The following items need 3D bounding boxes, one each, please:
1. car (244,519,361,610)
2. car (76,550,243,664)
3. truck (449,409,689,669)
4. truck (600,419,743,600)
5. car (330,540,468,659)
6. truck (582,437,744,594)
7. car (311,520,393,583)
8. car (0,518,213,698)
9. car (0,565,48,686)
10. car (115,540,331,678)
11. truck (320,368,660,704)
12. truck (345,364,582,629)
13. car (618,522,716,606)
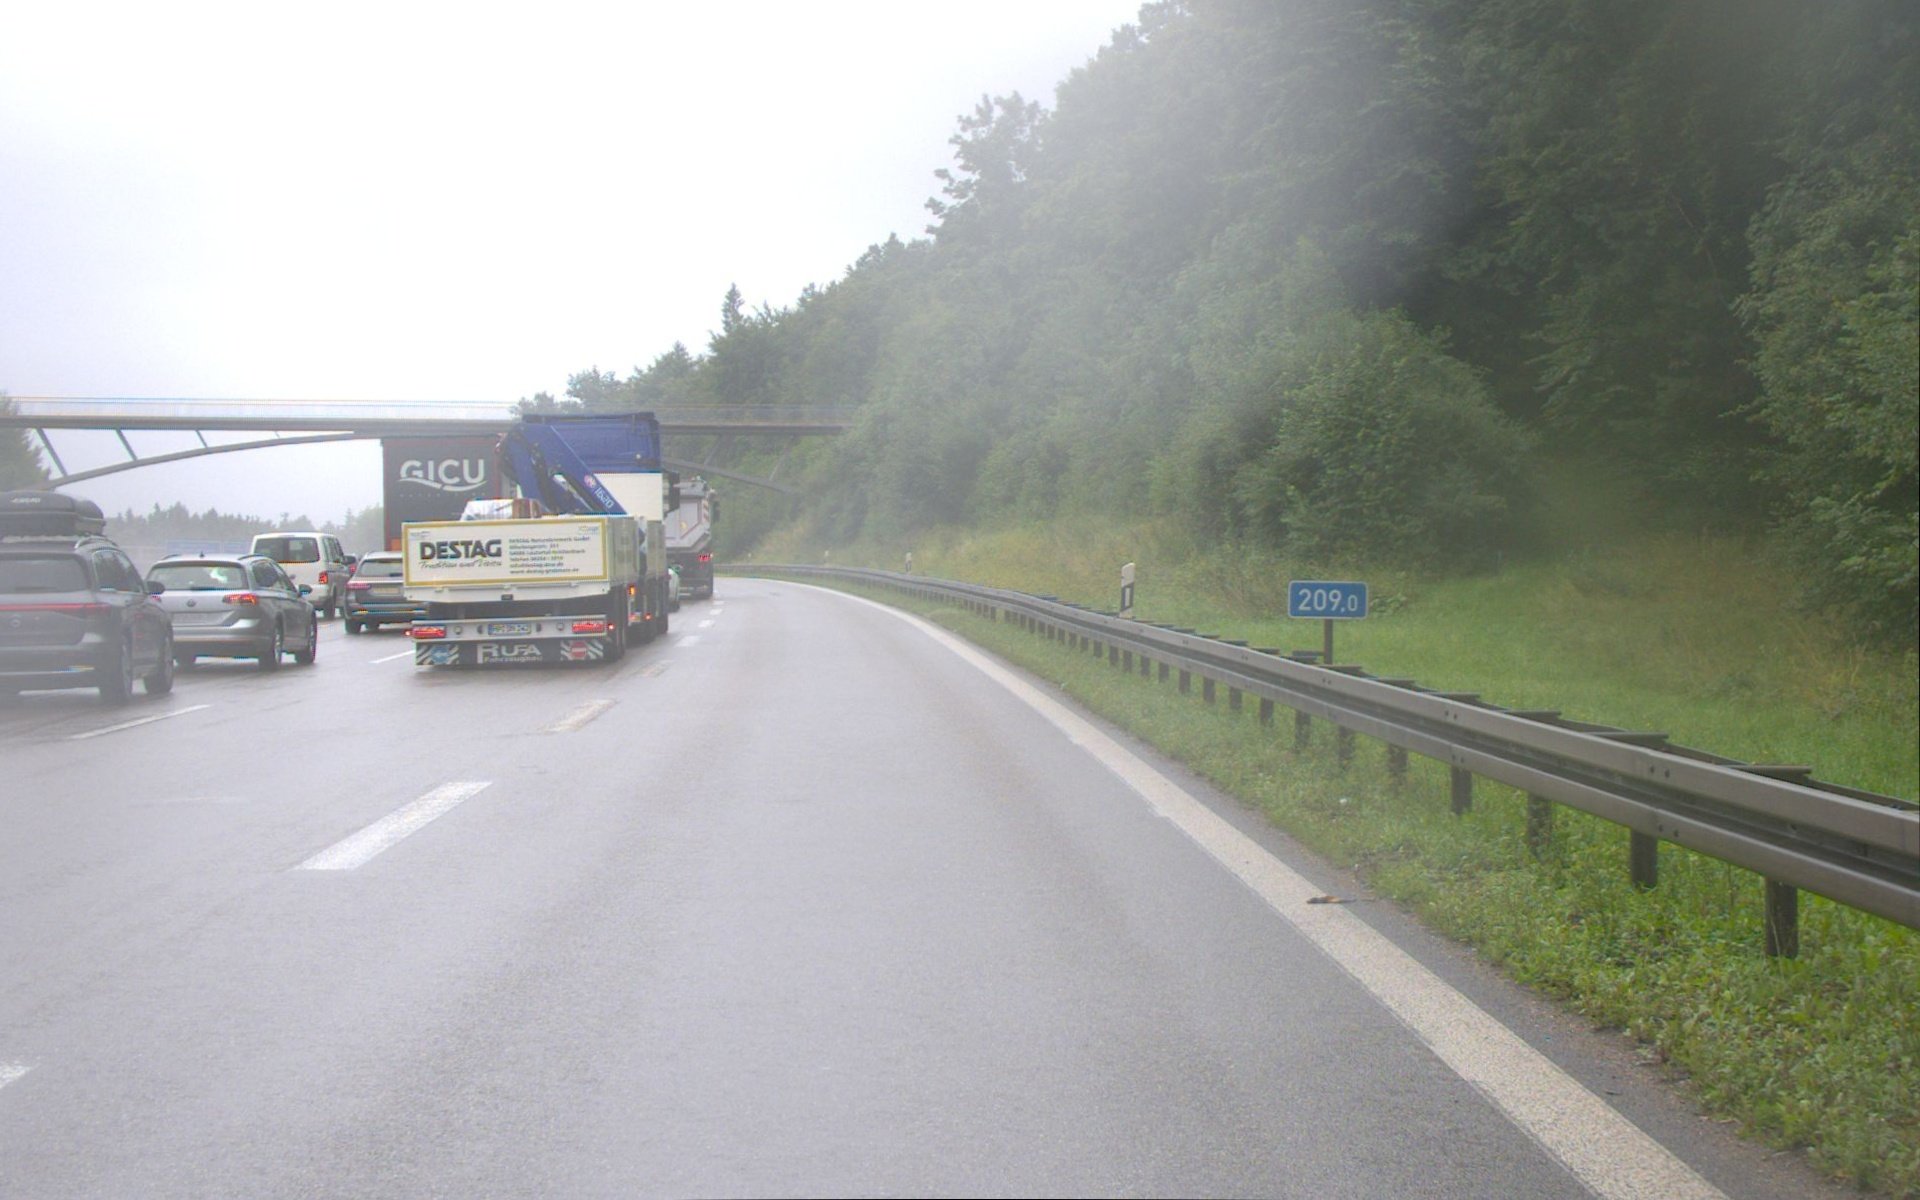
[{"bbox_3d":[-14.642,-0.769,76.761,1.844,1.853,4.000,3,-1,-2],"label":"car"},{"bbox_3d":[-12.150,0.071,52.383,1.755,1.641,4.001,-1,1,-2],"label":"car"},{"bbox_3d":[-7.073,-0.990,63.889,3.507,4.253,10.604,3,-1,-3],"label":"truck"},{"bbox_3d":[-9.943,-3.013,119.878,4.336,5.744,9.731,3,-1,-3],"label":"truck"},{"bbox_3d":[-10.194,0.009,62.724,1.793,2.007,4.000,3,-1,0],"label":"car"},{"bbox_3d":[-8.484,-2.320,99.709,3.754,3.957,11.059,3,-1,-1],"label":"truck"},{"bbox_3d":[-17.888,-1.419,101.228,1.851,1.657,4.000,3,-1,-4],"label":"car"},{"bbox_3d":[-8.913,0.075,34.401,1.993,1.630,4.000,3,-1,-1],"label":"car"},{"bbox_3d":[-14.693,0.325,49.827,1.786,1.740,4.000,3,-1,0],"label":"car"},{"bbox_3d":[-9.344,0.080,43.881,1.938,1.656,4.000,-1,1,-1],"label":"car"},{"bbox_3d":[-6.274,-0.900,48.059,3.599,4.091,11.561,-1,1,-2],"label":"truck"},{"bbox_3d":[-11.227,-2.189,78.941,3.754,5.480,10.172,3,-1,0],"label":"truck"},{"bbox_3d":[-6.882,-0.817,81.049,1.993,1.794,4.000,3,-1,-2],"label":"car"}]
